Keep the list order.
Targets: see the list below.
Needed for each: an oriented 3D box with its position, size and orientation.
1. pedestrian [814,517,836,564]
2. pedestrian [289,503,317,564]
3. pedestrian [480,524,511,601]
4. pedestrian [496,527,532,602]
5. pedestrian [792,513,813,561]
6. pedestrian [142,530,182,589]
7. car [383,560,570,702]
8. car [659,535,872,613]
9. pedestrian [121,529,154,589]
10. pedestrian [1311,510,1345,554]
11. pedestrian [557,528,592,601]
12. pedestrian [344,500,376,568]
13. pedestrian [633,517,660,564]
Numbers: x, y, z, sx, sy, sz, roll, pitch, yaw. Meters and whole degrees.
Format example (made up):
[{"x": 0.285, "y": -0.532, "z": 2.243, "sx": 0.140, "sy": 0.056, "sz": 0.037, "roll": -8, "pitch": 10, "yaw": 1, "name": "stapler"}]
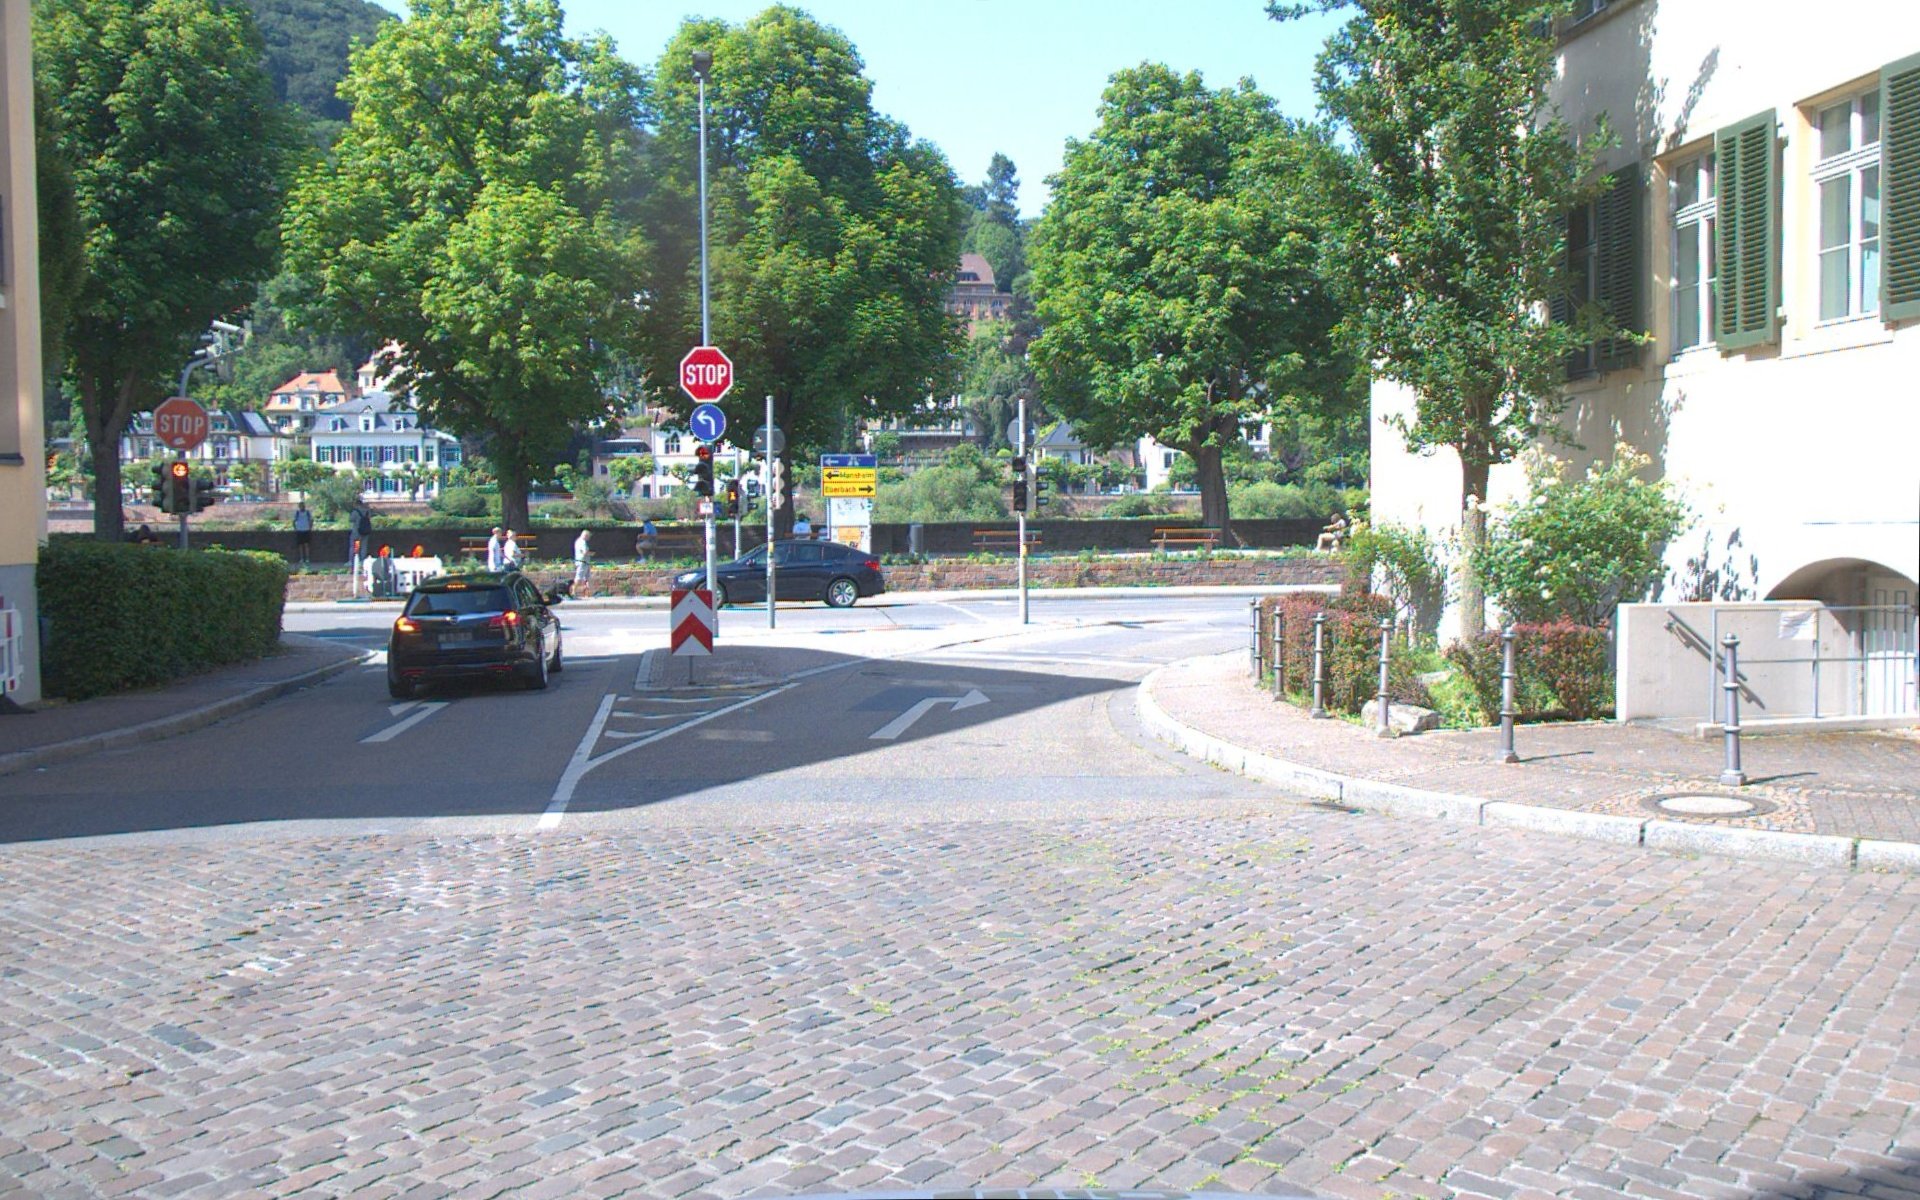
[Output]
[{"x": -3.774, "y": -1.663, "z": 46.254, "sx": 0.542, "sy": 1.249, "sz": 0.984, "roll": 1, "pitch": -1, "yaw": -9, "name": "pedestrian"}, {"x": -19.314, "y": -1.949, "z": 48.633, "sx": 0.697, "sy": 1.762, "sz": 0.752, "roll": -1, "pitch": 1, "yaw": -19, "name": "pedestrian"}, {"x": -11.306, "y": -0.918, "z": 40.295, "sx": 0.567, "sy": 1.833, "sz": 0.704, "roll": -2, "pitch": 1, "yaw": -6, "name": "pedestrian"}, {"x": -11.156, "y": -0.883, "z": 41.413, "sx": 0.708, "sy": 1.833, "sz": 0.633, "roll": -2, "pitch": 1, "yaw": -6, "name": "pedestrian"}, {"x": -4.370, "y": -1.742, "z": 45.840, "sx": 0.542, "sy": 1.302, "sz": 0.703, "roll": 1, "pitch": -1, "yaw": -7, "name": "pedestrian"}, {"x": -20.841, "y": -1.068, "z": 43.215, "sx": 0.458, "sy": 1.505, "sz": 1.384, "roll": -1, "pitch": 2, "yaw": -5, "name": "pedestrian"}, {"x": -6.110, "y": 0.292, "z": 21.387, "sx": 1.683, "sy": 1.487, "sz": 4.715, "roll": -3, "pitch": 3, "yaw": -9, "name": "car"}, {"x": -4.511, "y": -0.613, "z": 38.147, "sx": 4.680, "sy": 1.544, "sz": 1.900, "roll": -3, "pitch": 1, "yaw": -12, "name": "car"}, {"x": -21.326, "y": -1.071, "z": 42.898, "sx": 0.458, "sy": 1.519, "sz": 0.804, "roll": -1, "pitch": 2, "yaw": -5, "name": "pedestrian"}, {"x": 10.810, "y": -1.984, "z": 48.608, "sx": 0.782, "sy": 1.232, "sz": 0.714, "roll": 1, "pitch": -1, "yaw": -6, "name": "pedestrian"}, {"x": -9.639, "y": -0.883, "z": 41.404, "sx": 0.674, "sy": 1.800, "sz": 0.717, "roll": -2, "pitch": 1, "yaw": -4, "name": "pedestrian"}, {"x": -16.879, "y": -1.847, "z": 46.497, "sx": 0.753, "sy": 1.890, "sz": 0.750, "roll": -1, "pitch": 1, "yaw": -27, "name": "pedestrian"}, {"x": -8.522, "y": -1.617, "z": 45.008, "sx": 0.632, "sy": 1.249, "sz": 0.412, "roll": -2, "pitch": 1, "yaw": -21, "name": "pedestrian"}]
